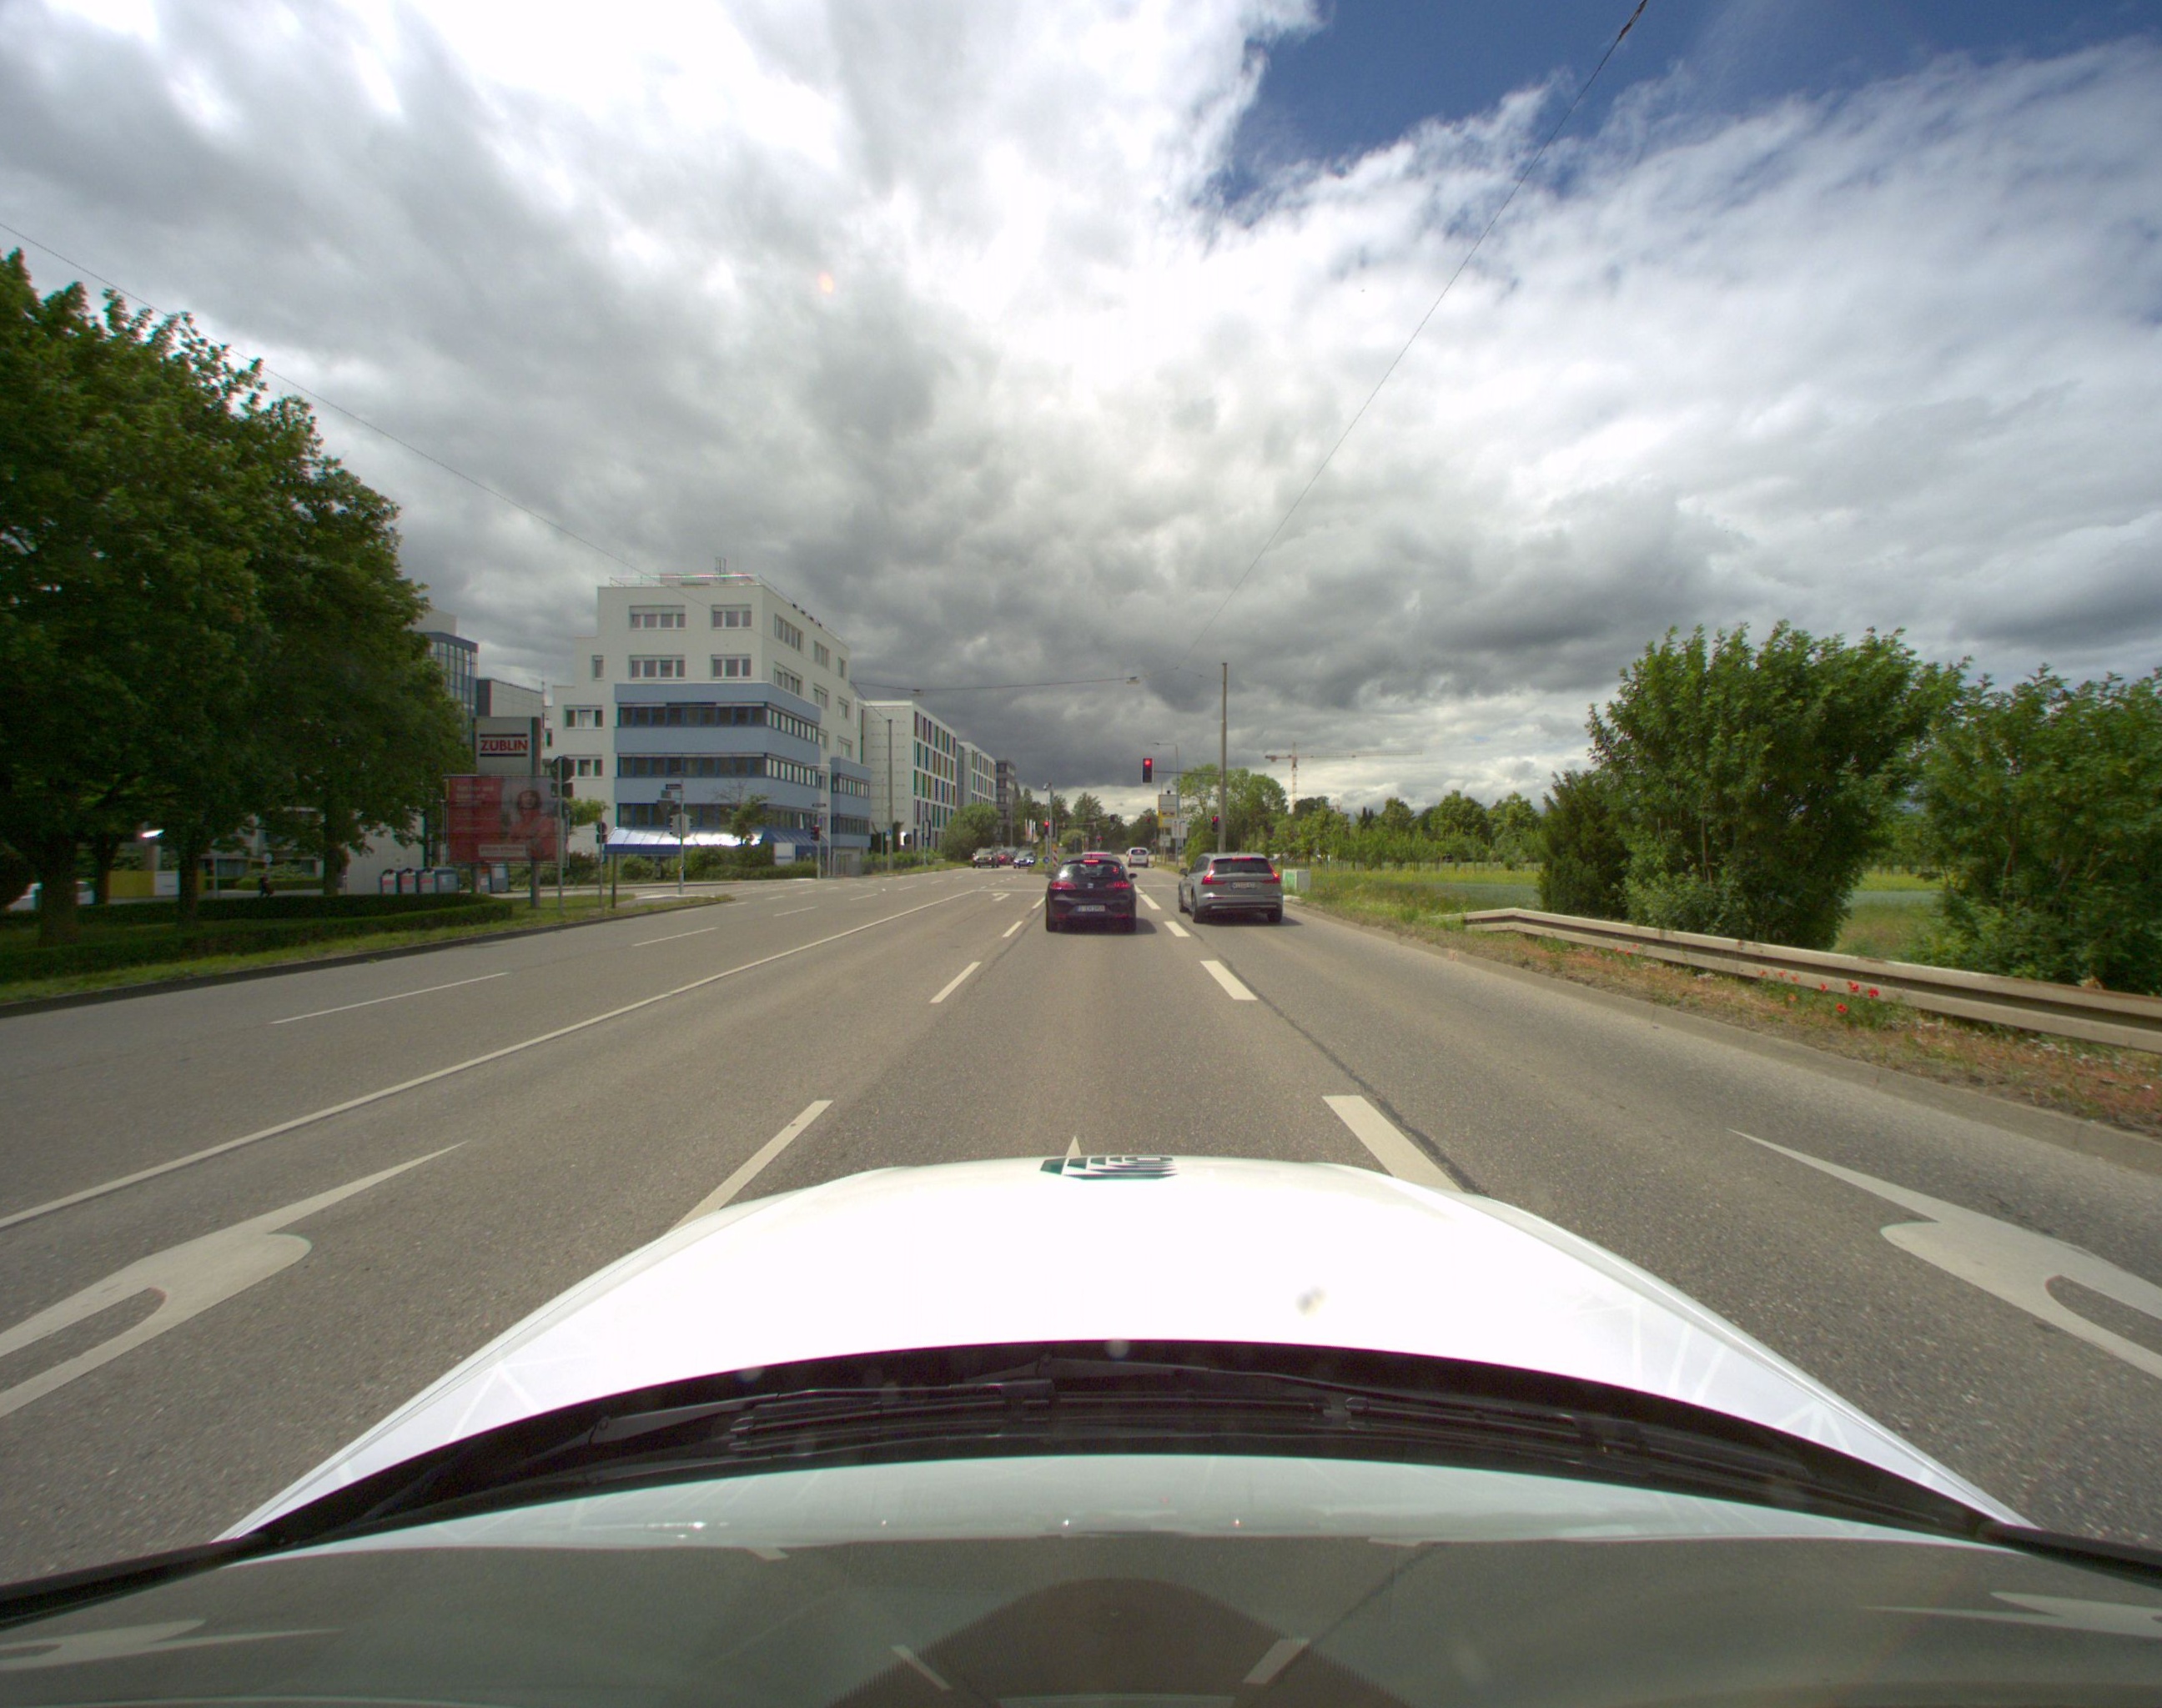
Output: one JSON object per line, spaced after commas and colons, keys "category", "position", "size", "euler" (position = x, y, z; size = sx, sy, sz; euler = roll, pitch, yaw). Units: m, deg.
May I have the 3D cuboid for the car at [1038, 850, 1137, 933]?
{"category": "car", "position": [0.260, 0.684, 16.787], "size": [1.740, 1.484, 4.005], "euler": [1, 0, 4]}

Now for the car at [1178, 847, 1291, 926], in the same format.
{"category": "car", "position": [3.322, 0.659, 18.455], "size": [1.950, 1.525, 4.343], "euler": [-2, 0, 3]}

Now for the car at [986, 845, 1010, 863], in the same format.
{"category": "car", "position": [-7.793, 0.003, 76.861], "size": [1.769, 1.612, 4.001], "euler": [0, 0, 1]}

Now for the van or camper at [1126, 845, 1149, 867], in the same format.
{"category": "van or camper", "position": [5.400, 0.251, 77.891], "size": [1.987, 1.926, 3.999], "euler": [0, -3, 1]}

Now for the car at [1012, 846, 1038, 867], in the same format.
{"category": "car", "position": [-4.430, 0.201, 65.261], "size": [1.663, 1.524, 4.009], "euler": [-2, 1, 1]}

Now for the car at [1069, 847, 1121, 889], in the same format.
{"category": "car", "position": [0.541, 0.507, 32.973], "size": [1.977, 1.590, 4.226], "euler": [0, 0, 0]}

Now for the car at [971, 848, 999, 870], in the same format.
{"category": "car", "position": [-7.814, 0.392, 66.691], "size": [1.745, 1.631, 4.001], "euler": [-2, 0, 1]}

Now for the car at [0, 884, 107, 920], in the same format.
{"category": "car", "position": [-60.149, 2.781, 47.679], "size": [3.969, 1.980, 2.002], "euler": [0, 0, 4]}
